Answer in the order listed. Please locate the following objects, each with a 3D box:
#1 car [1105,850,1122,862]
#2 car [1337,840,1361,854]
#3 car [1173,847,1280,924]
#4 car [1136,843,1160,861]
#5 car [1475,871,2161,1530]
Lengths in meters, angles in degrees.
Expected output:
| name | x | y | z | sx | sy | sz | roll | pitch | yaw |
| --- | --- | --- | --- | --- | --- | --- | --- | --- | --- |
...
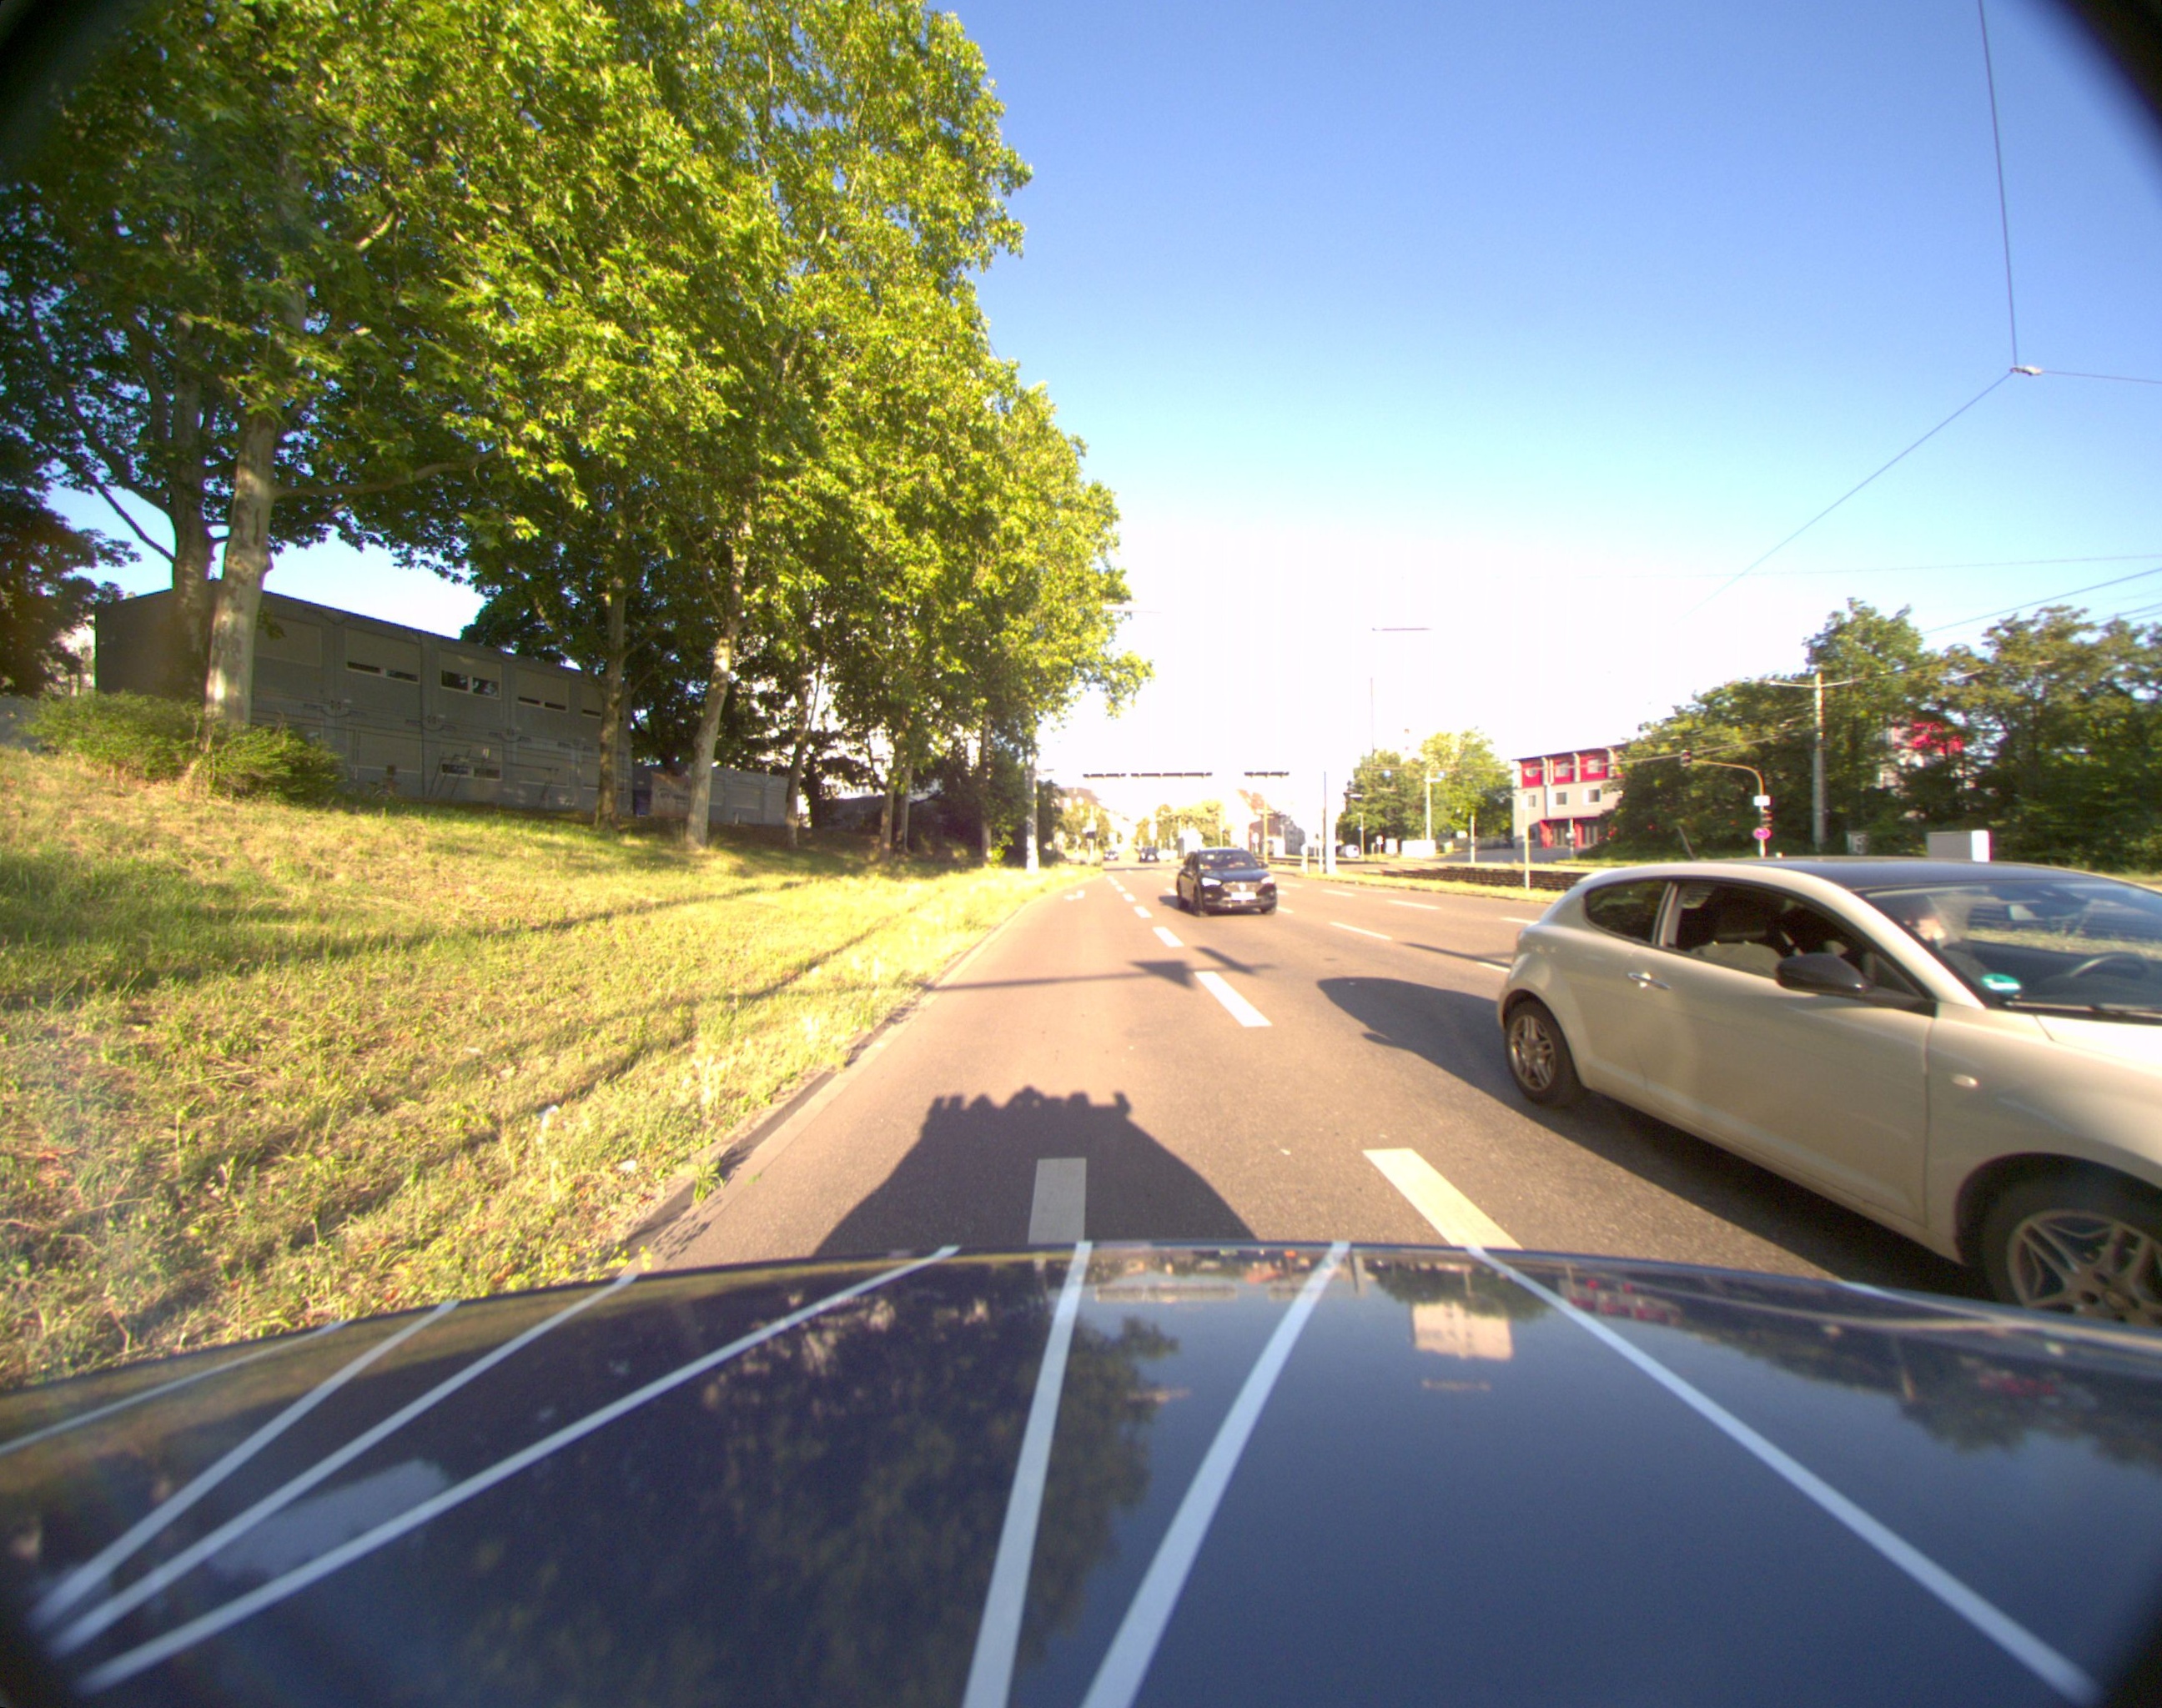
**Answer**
| name | x | y | z | sx | sy | sz | roll | pitch | yaw |
| --- | --- | --- | --- | --- | --- | --- | --- | --- | --- |
| car | 3.893 | 0.229 | 91.037 | 1.741 | 1.429 | 3.999 | -1 | 0 | -1 |
| car | 36.626 | -0.950 | 103.838 | 1.938 | 1.777 | 4.260 | -1 | 0 | 3 |
| car | 3.536 | 0.693 | 19.285 | 1.818 | 1.670 | 4.623 | -2 | 0 | 0 |
| car | 6.719 | -0.211 | 76.601 | 1.905 | 1.652 | 4.276 | -2 | 0 | -1 |
| car | 3.440 | 0.864 | 2.921 | 1.741 | 1.496 | 4.000 | -1 | 0 | -1 |
